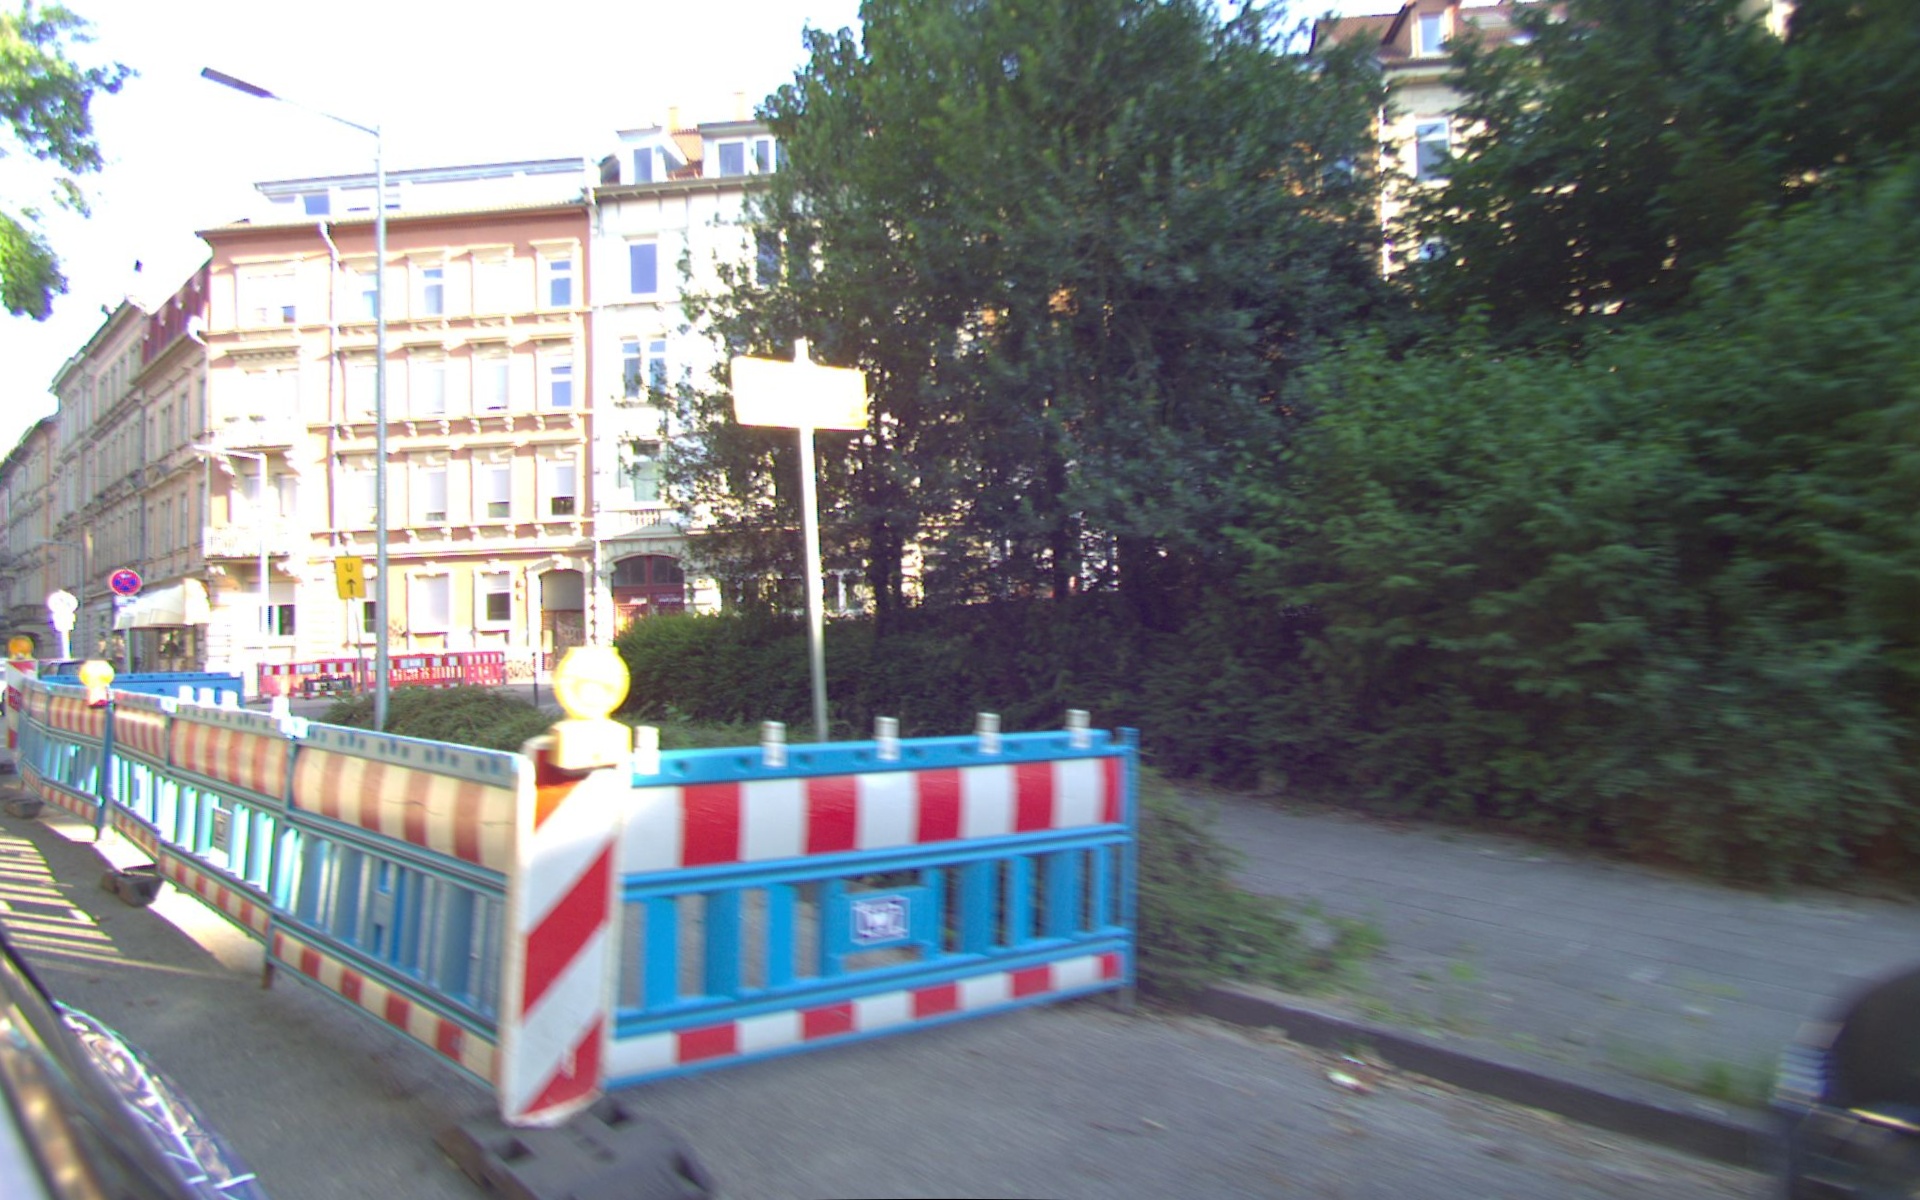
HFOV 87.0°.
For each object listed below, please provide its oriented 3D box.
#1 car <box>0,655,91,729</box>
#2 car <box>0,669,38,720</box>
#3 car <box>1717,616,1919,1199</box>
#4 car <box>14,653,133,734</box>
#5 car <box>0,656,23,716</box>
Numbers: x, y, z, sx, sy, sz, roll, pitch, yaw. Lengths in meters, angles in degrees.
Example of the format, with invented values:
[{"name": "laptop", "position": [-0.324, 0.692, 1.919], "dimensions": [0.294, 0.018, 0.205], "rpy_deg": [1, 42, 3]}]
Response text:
[{"name": "car", "position": [-26.047, 2.525, 28.594], "dimensions": [4.192, 1.854, 1.681], "rpy_deg": [-2, -3, 42]}, {"name": "car", "position": [-33.404, 3.229, 35.067], "dimensions": [4.192, 1.581, 1.681], "rpy_deg": [-2, -3, 42]}, {"name": "car", "position": [3.159, 0.722, 0.614], "dimensions": [4.192, 1.410, 1.681], "rpy_deg": [-2, -3, 42]}, {"name": "car", "position": [-22.413, 2.277, 25.541], "dimensions": [4.192, 1.818, 1.681], "rpy_deg": [-2, -3, 42]}, {"name": "car", "position": [-37.297, 3.263, 38.685], "dimensions": [4.192, 2.132, 1.681], "rpy_deg": [-2, -3, 42]}]
